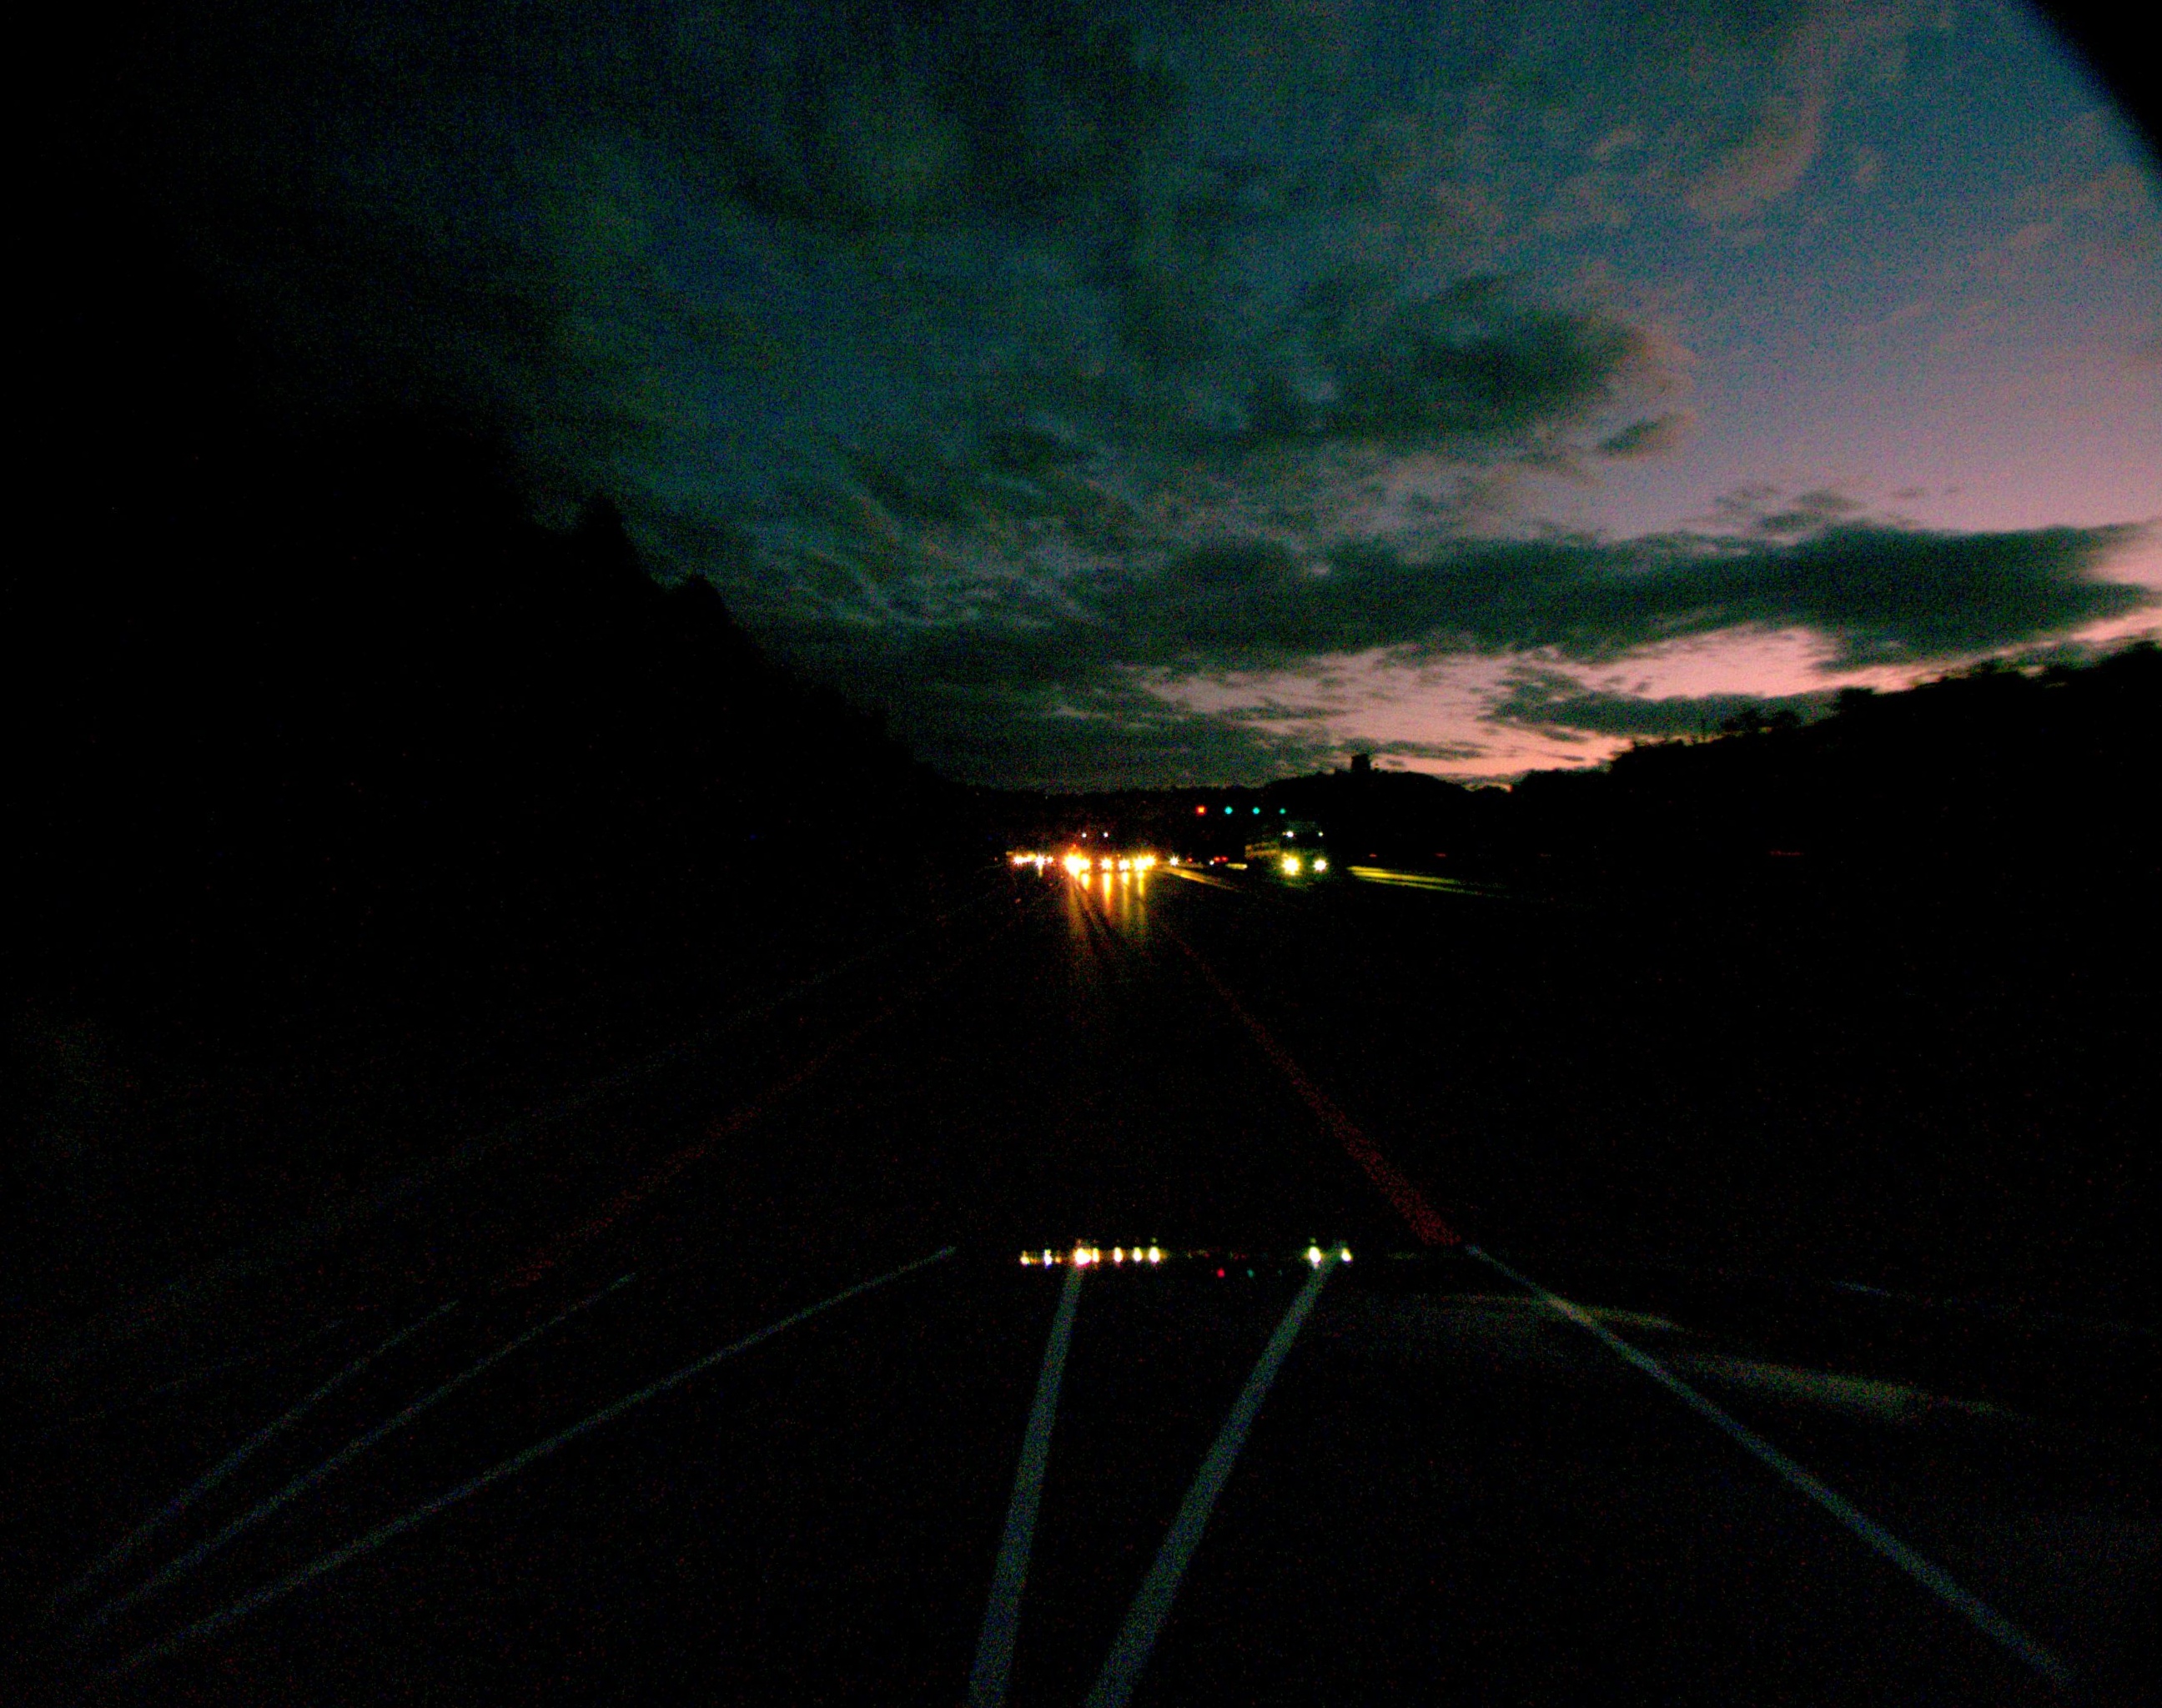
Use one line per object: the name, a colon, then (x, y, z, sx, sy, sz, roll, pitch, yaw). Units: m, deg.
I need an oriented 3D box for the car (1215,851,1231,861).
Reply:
car: (24.636, 0.331, 132.058, 1.912, 1.705, 3.943, -2, 0, 0)

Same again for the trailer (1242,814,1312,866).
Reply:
trailer: (15.854, -1.077, 62.541, 2.805, 3.761, 11.835, -2, 0, 1)

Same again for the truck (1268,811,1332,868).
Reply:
truck: (15.580, -1.017, 54.574, 2.809, 3.753, 6.303, -2, 1, 2)

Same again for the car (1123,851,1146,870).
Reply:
car: (4.765, 0.590, 68.422, 1.663, 1.586, 3.995, -2, 0, -1)

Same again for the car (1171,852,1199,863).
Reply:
car: (16.635, 0.527, 121.571, 4.005, 1.689, 1.996, -1, 0, -25)

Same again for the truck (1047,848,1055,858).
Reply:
truck: (-8.660, -0.366, 217.169, 1.999, 2.817, 6.295, -2, 0, 0)

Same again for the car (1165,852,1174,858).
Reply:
car: (21.249, 0.171, 182.556, 1.707, 1.447, 3.929, -2, 0, -2)

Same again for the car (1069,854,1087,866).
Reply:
car: (-0.408, 0.767, 102.331, 1.927, 1.606, 3.998, -1, 0, -6)

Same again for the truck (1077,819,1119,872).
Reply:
truck: (1.349, -0.704, 68.134, 2.954, 4.241, 11.049, -2, 0, -2)

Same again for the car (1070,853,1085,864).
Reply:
car: (-0.574, 0.701, 116.271, 1.927, 1.606, 3.998, -1, 0, -6)

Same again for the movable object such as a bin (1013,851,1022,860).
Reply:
movable object such as a bin: (-21.474, 0.451, 256.651, 2.629, 3.090, 5.802, -1, 0, -7)
